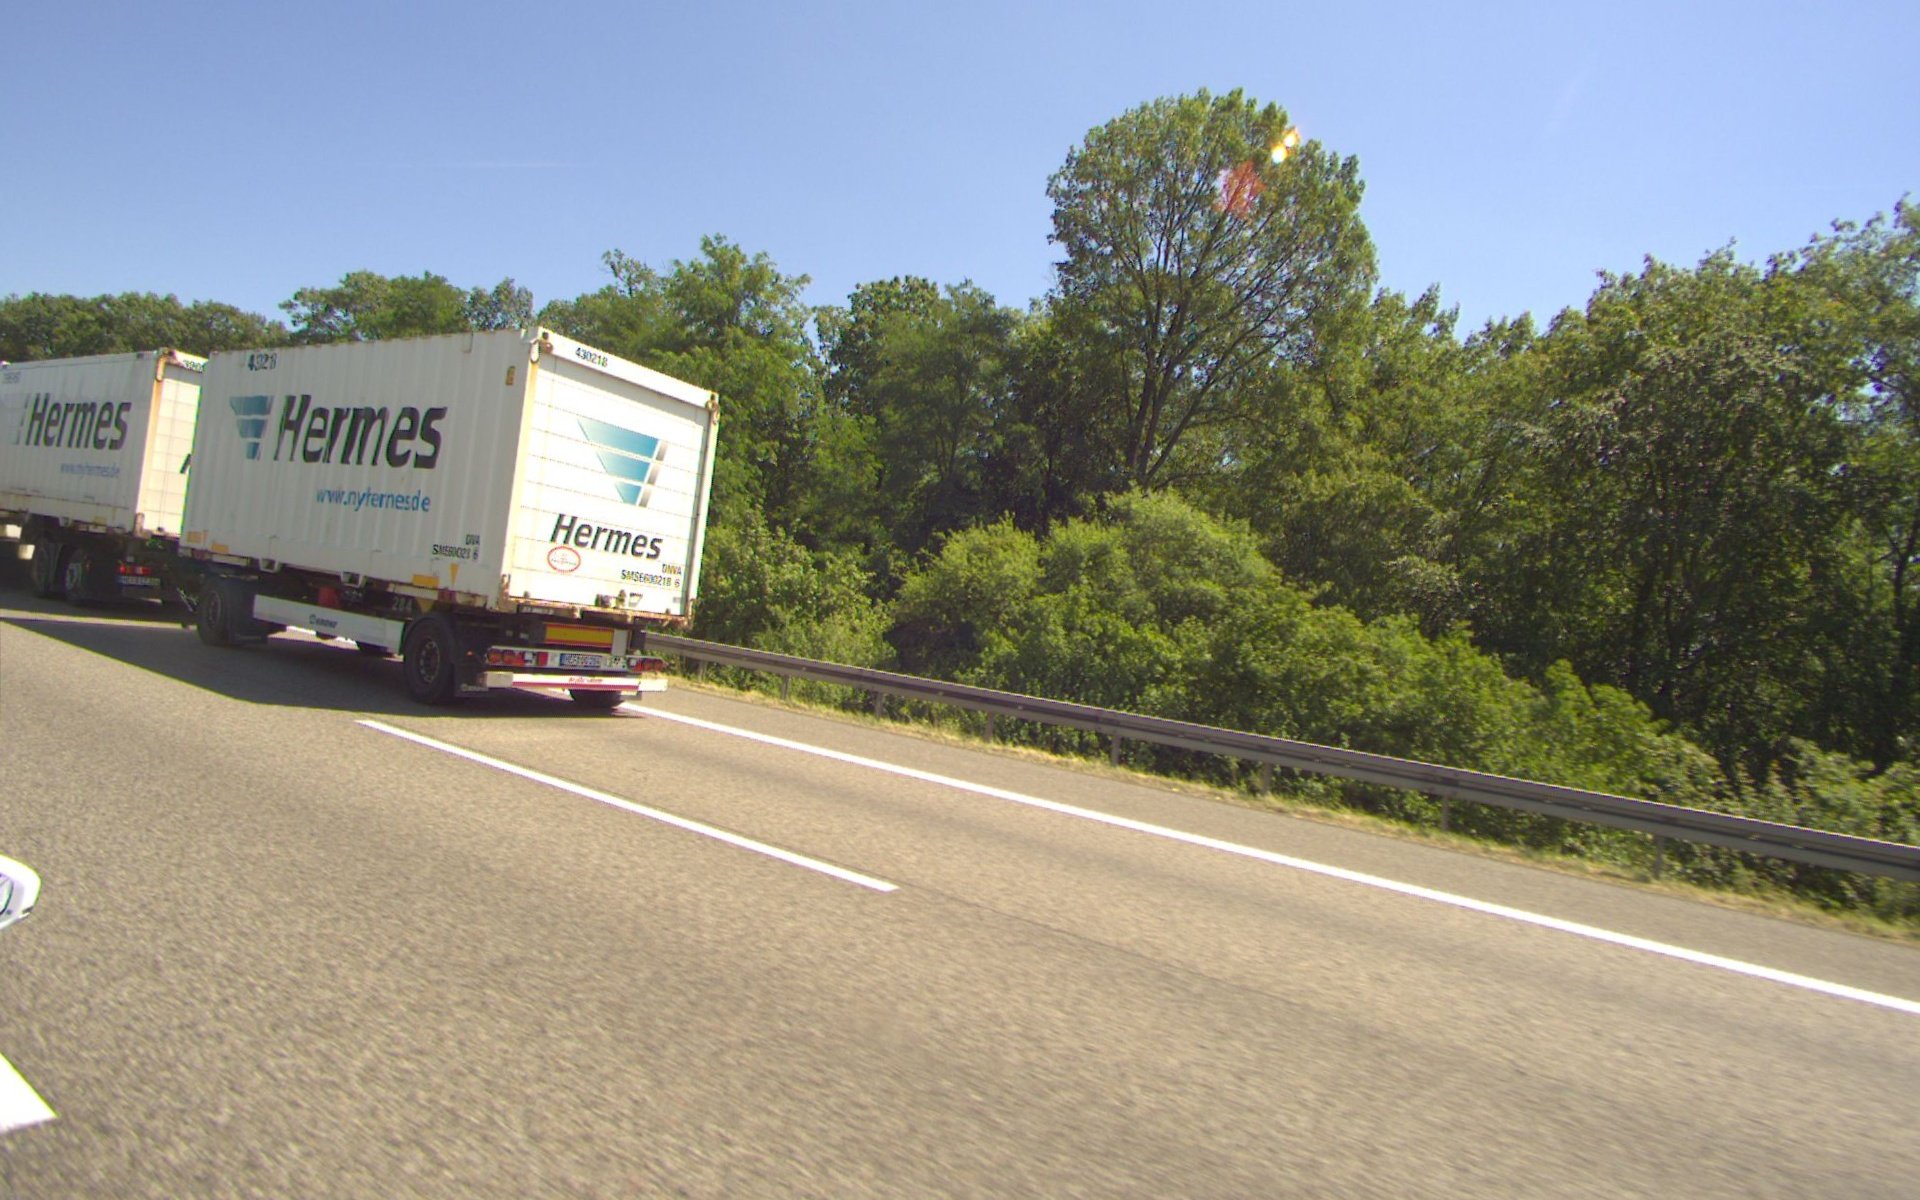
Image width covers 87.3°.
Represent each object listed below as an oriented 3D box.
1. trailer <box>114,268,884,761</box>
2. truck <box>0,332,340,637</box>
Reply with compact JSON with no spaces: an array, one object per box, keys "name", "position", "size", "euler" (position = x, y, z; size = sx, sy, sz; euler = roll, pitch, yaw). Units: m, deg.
[{"name":"trailer","position":[-6.361,-1.091,12.346],"size":[11.078,4.106,2.560],"euler":[6,-2,32]},{"name":"truck","position":[-15.479,-2.087,18.166],"size":[10.493,4.178,2.531],"euler":[6,-2,32]}]
